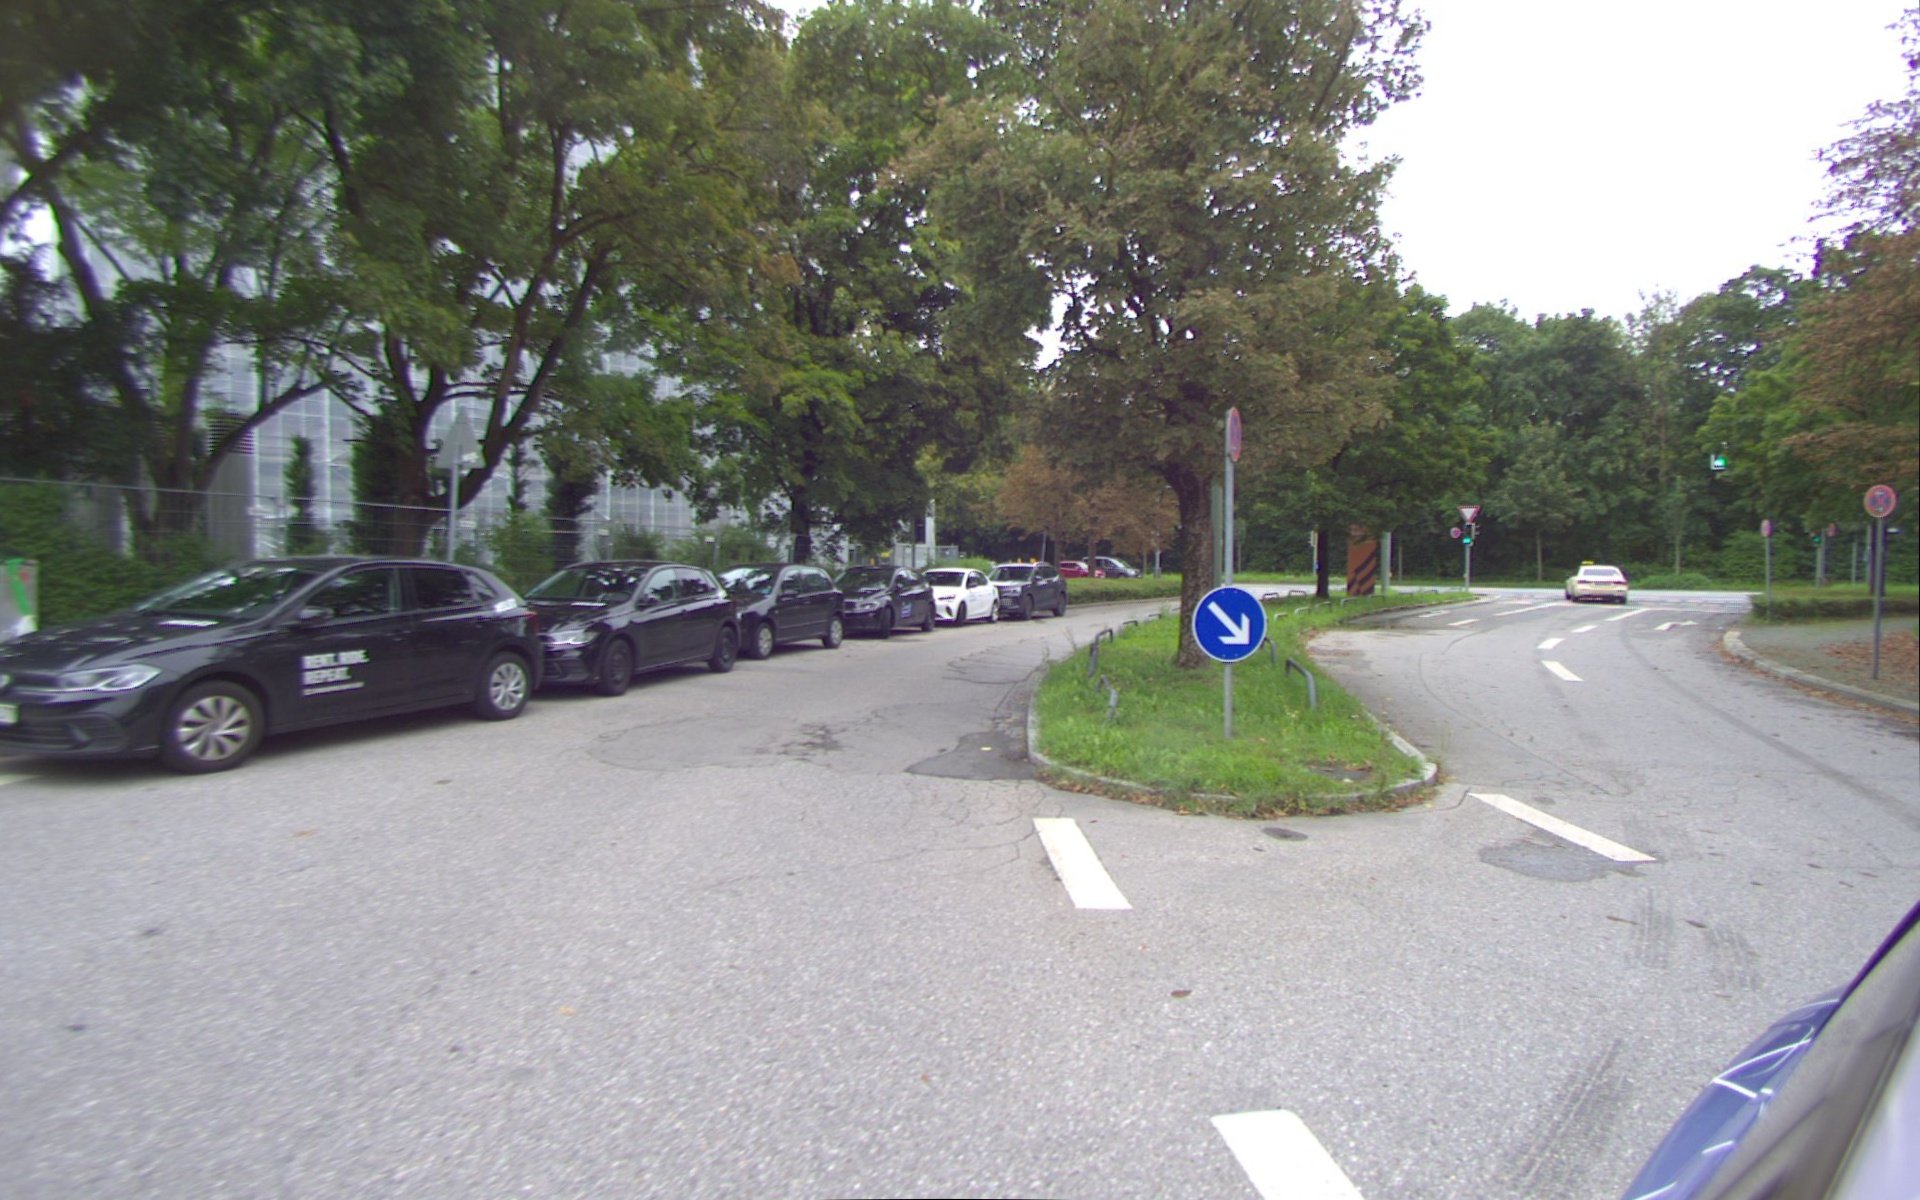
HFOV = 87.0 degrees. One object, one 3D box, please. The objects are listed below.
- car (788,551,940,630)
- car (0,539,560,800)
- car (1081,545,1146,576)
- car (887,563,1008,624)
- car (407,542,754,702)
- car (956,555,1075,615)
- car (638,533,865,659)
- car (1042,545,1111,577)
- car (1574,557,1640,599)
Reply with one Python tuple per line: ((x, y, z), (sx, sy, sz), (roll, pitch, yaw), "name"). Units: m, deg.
((-1.890, -0.253, 21.140), (1.815, 1.479, 3.986), (1, 2, 17), "car")
((-5.341, 0.305, 7.993), (1.973, 1.450, 4.021), (3, 3, 17), "car")
((10.416, -2.666, 68.759), (3.977, 2.038, 1.974), (2, 2, 36), "car")
((-0.226, -0.221, 25.831), (1.779, 1.400, 4.193), (1, 2, 19), "car")
((-4.244, 0.134, 12.079), (1.971, 1.560, 3.983), (1, 2, 15), "car")
((1.734, -0.432, 29.975), (1.874, 1.626, 4.353), (1, 0, 28), "car")
((-3.234, -0.133, 16.585), (1.973, 1.726, 3.980), (3, 2, 17), "car")
((7.713, -2.606, 66.990), (4.133, 2.038, 1.974), (2, 2, 37), "car")
((25.804, -0.923, 40.514), (1.877, 1.564, 4.805), (2, 2, 29), "car")
